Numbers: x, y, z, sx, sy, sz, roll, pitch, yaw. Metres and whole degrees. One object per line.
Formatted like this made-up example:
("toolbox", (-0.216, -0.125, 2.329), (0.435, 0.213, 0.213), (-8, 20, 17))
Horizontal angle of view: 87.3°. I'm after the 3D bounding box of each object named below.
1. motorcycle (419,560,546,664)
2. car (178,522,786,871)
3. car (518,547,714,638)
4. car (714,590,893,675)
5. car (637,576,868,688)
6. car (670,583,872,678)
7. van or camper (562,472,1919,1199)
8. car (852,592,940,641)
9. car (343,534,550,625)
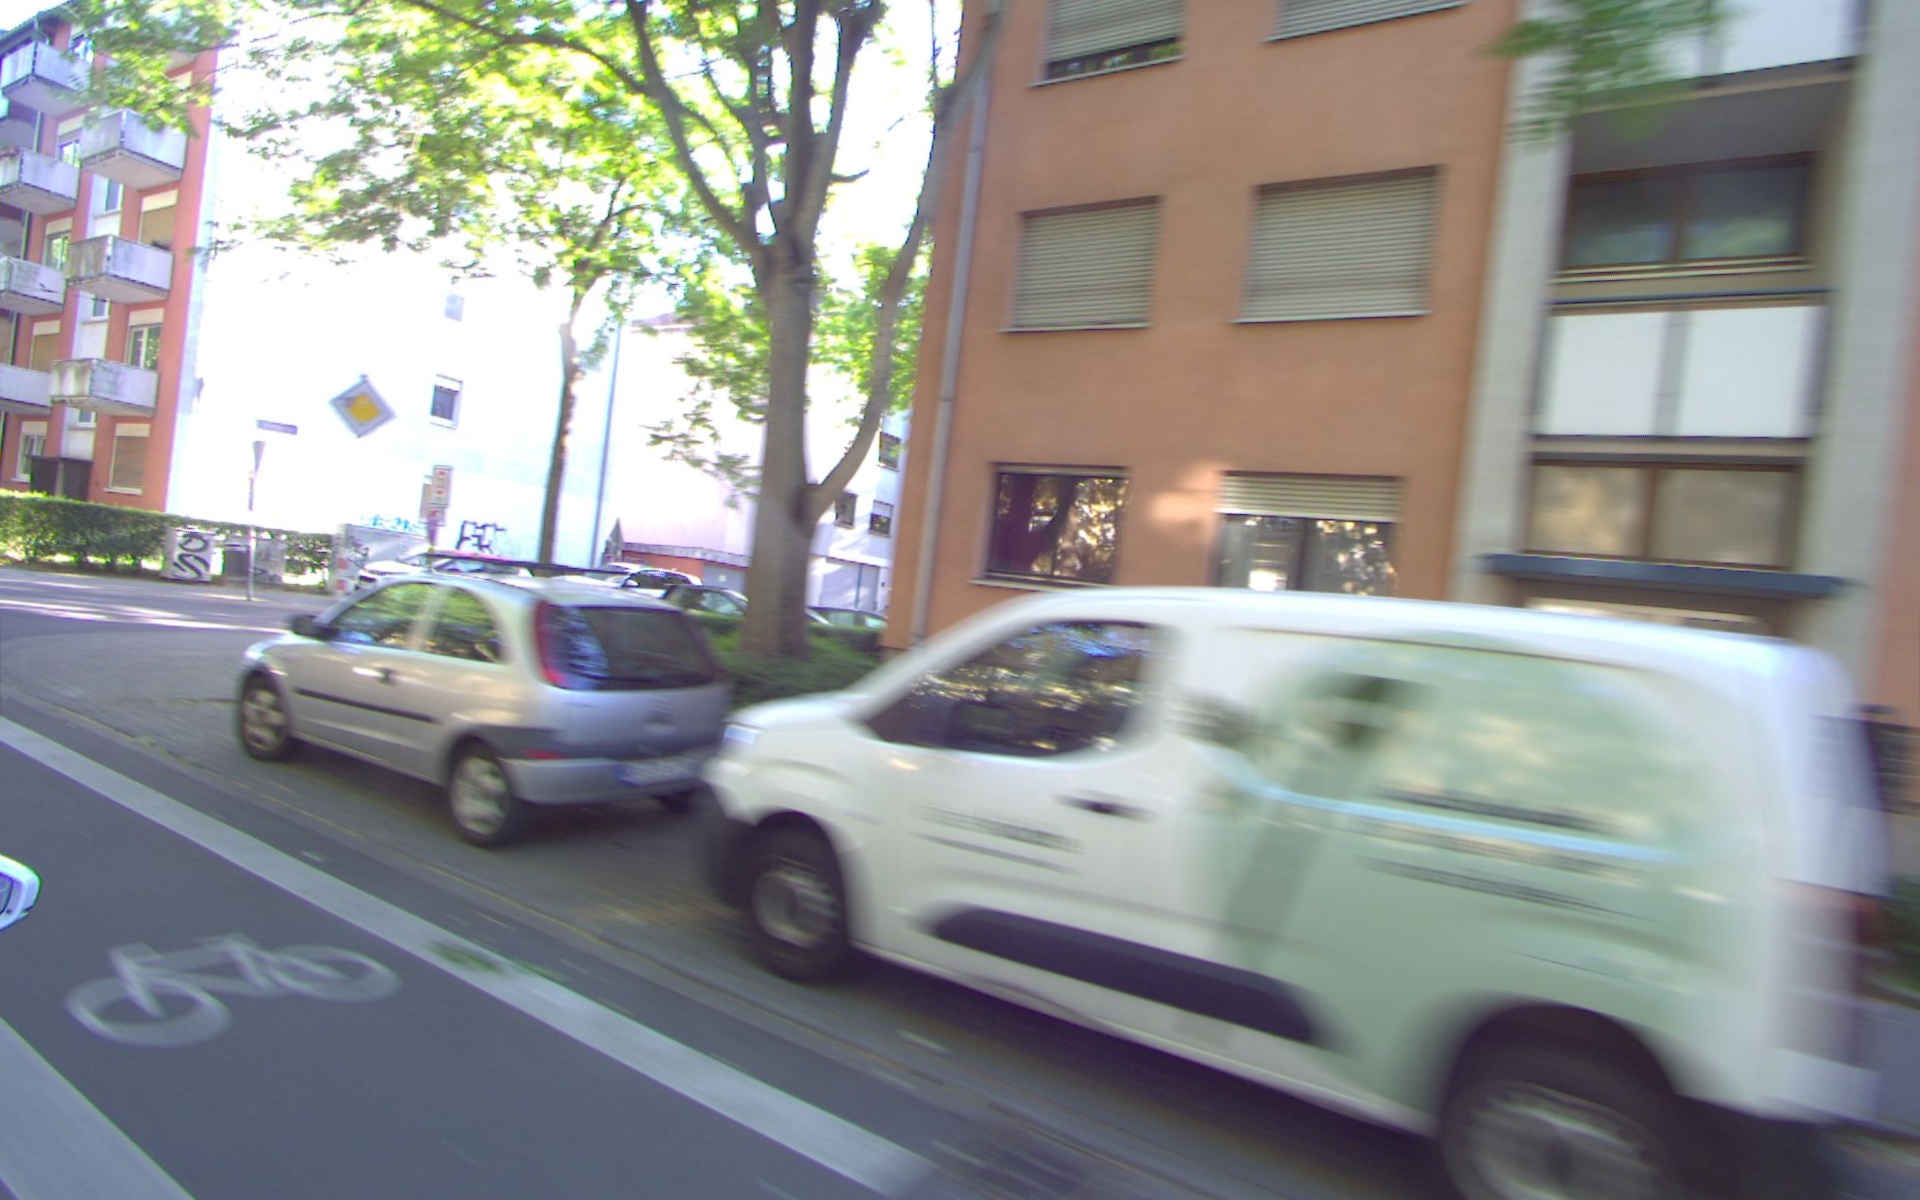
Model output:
("motorcycle", (-7.191, 0.165, 15.083), (2.223, 1.314, 0.678), (6, 0, 38))
("car", (-3.295, 0.461, 6.736), (3.933, 1.491, 1.707), (7, 0, 31))
("car", (-9.195, -0.140, 27.346), (1.971, 1.815, 4.729), (10, 1, 30))
("car", (-3.691, 0.774, 24.179), (3.873, 1.479, 1.666), (7, 0, 0))
("car", (-3.898, 0.599, 19.339), (3.926, 1.559, 1.727), (7, 0, 0))
("car", (-3.988, 0.646, 21.673), (3.873, 1.479, 1.727), (7, 0, 0))
("van or camper", (0.692, 0.648, 4.225), (4.750, 1.887, 1.757), (7, 0, 31))
("car", (-2.432, 0.678, 38.836), (1.557, 1.507, 3.384), (7, -1, 33))
("car", (-11.730, -0.414, 23.240), (1.535, 1.500, 3.920), (10, 1, 30))
